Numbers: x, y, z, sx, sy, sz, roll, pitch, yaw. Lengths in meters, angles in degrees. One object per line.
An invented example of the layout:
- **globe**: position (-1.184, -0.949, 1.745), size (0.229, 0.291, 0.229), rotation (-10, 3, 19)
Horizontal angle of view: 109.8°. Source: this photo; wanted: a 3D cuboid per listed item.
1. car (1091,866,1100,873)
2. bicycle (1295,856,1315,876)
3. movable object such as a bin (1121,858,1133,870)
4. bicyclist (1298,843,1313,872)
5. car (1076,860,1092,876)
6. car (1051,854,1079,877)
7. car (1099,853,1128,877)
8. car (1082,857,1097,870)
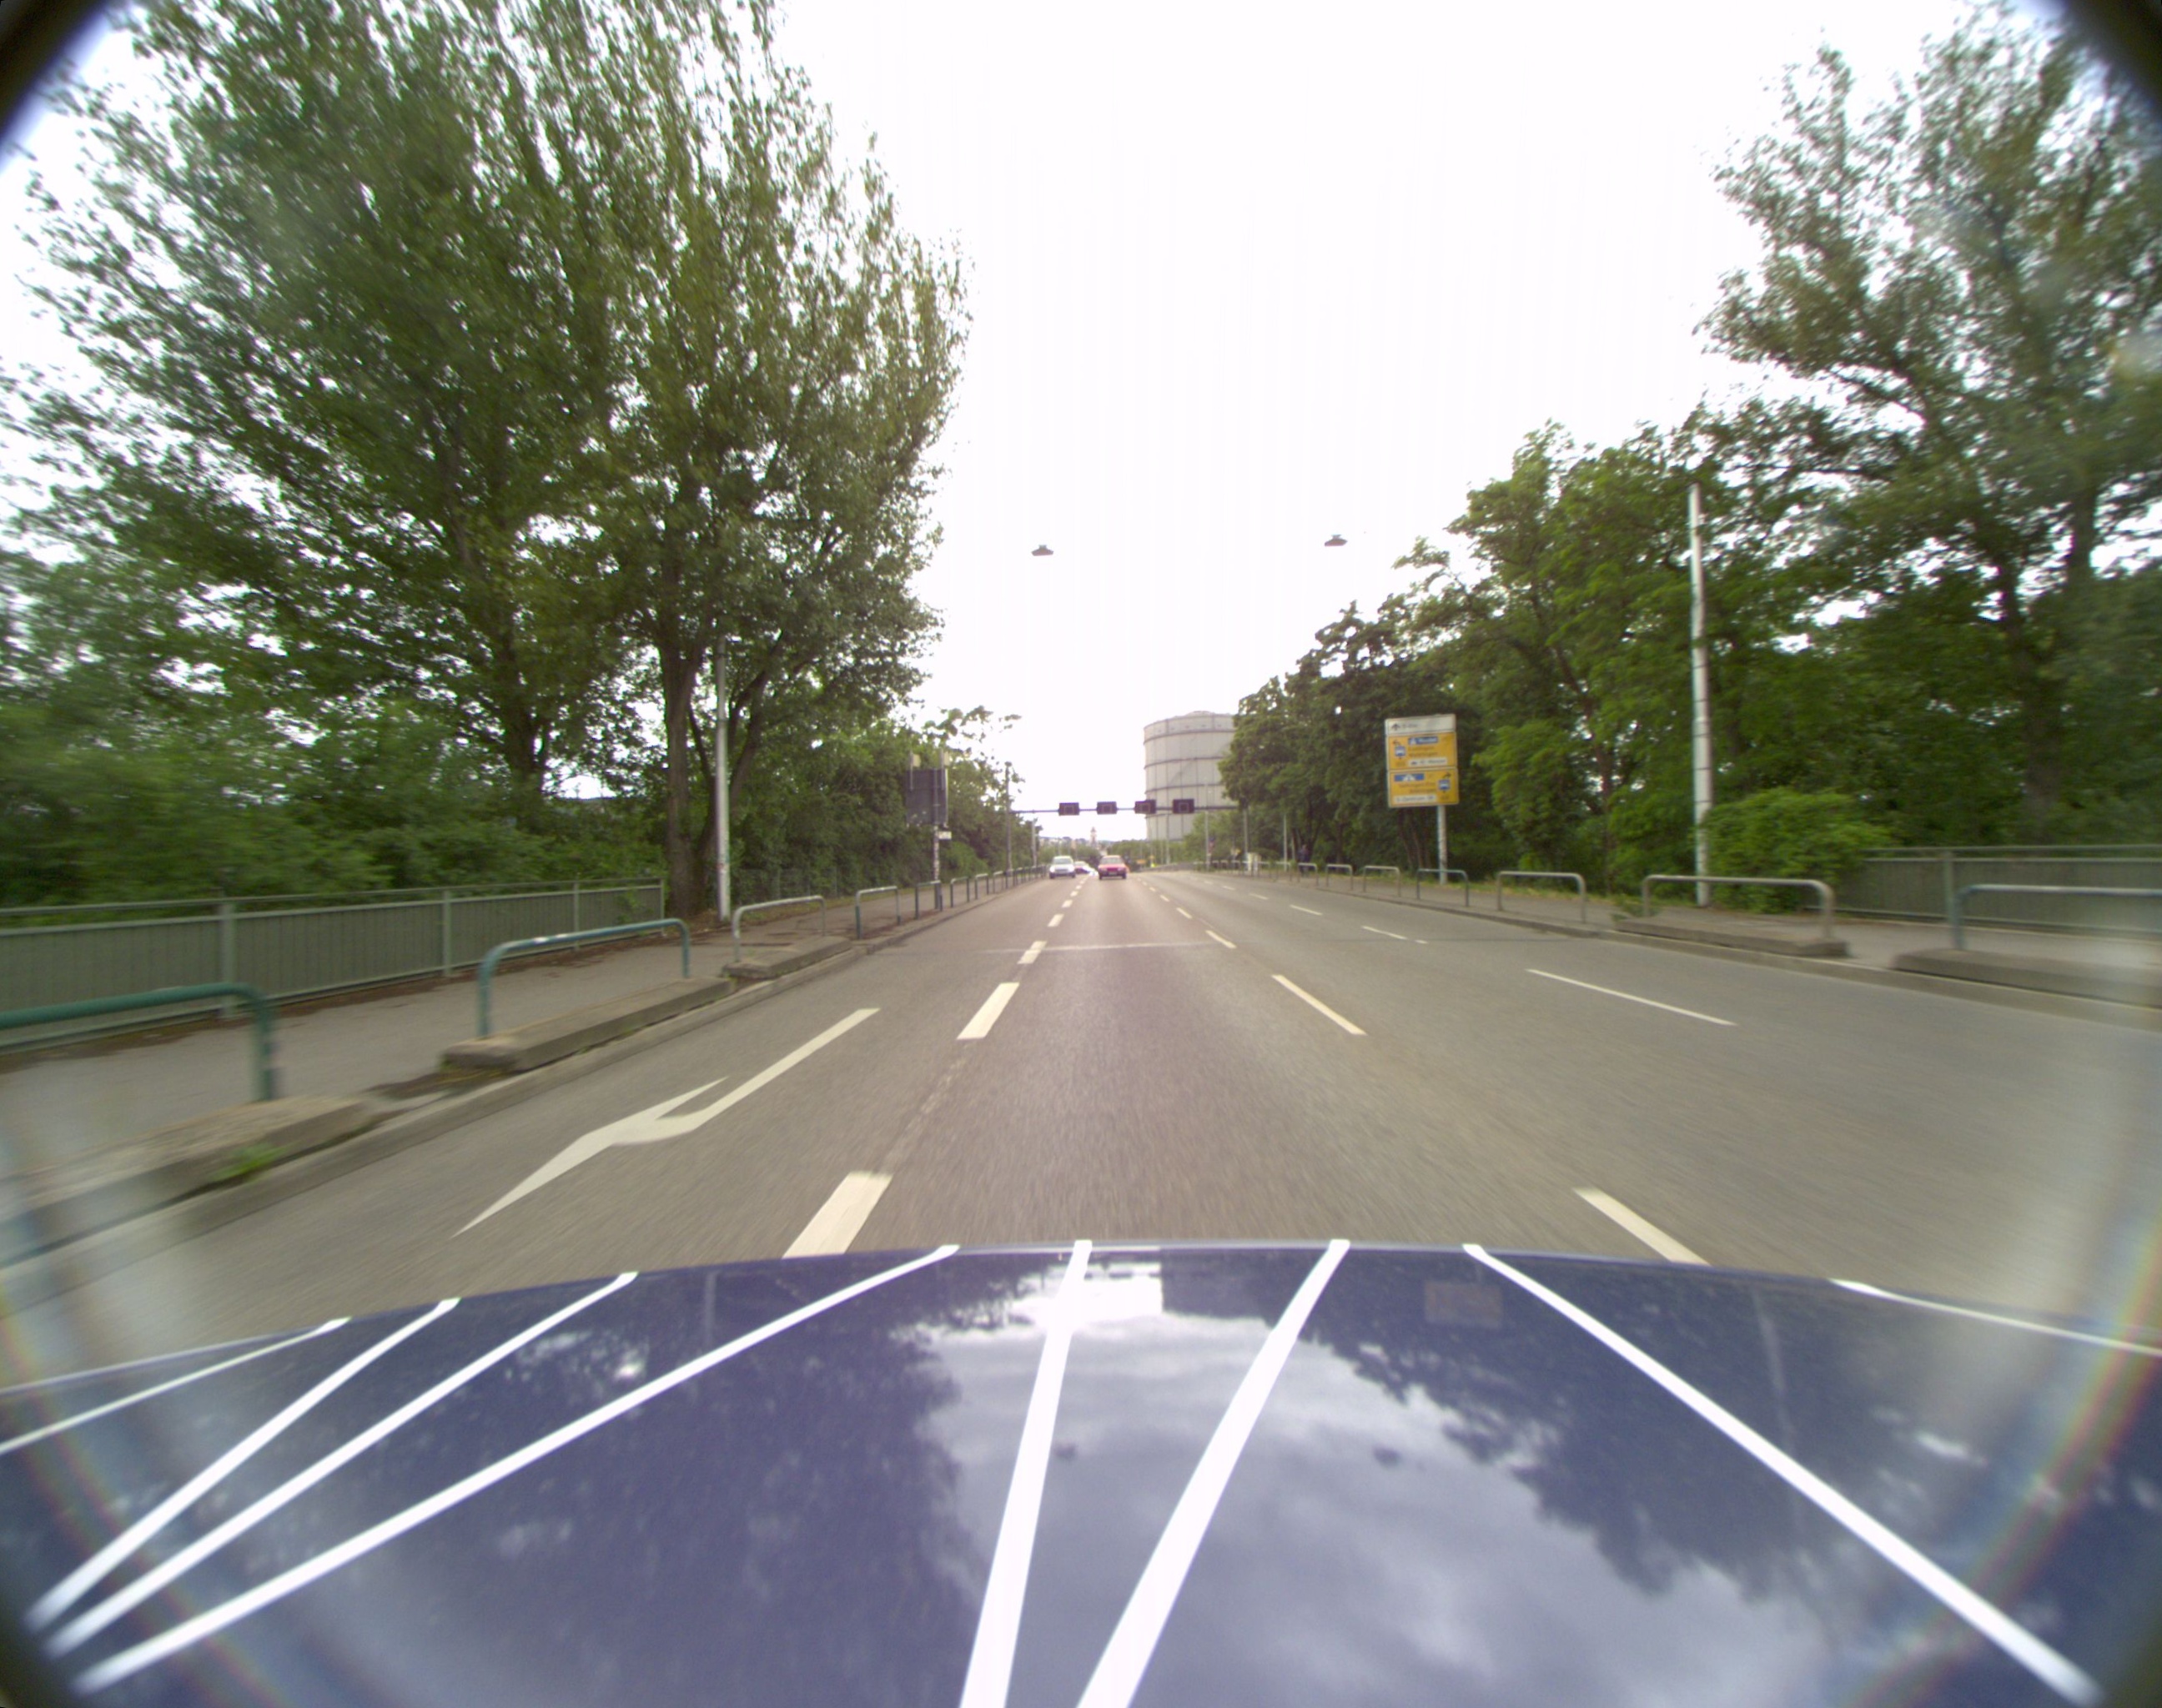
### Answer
- **car**: position (3.928, 4.099, 203.551), size (1.998, 1.792, 4.001), rotation (-3, 0, 5)
- **bicycle**: position (11.791, 0.626, 39.999), size (0.486, 0.996, 2.002), rotation (-1, 0, 1)
- **movable object such as a bin**: position (13.380, 2.898, 222.287), size (3.463, 3.303, 9.361), rotation (0, -1, 2)
- **bicyclist**: position (11.802, 0.178, 39.911), size (0.516, 1.507, 0.984), rotation (-1, 0, 1)
- **car**: position (0.338, 1.652, 90.809), size (1.776, 1.696, 4.000), rotation (-3, 0, 1)
- **car**: position (-1.107, 0.800, 54.942), size (1.771, 1.565, 4.001), rotation (-1, 0, 2)
- **car**: position (1.998, 0.686, 46.845), size (1.696, 1.434, 4.001), rotation (0, -1, 2)
- **car**: position (1.244, 1.357, 108.251), size (1.998, 1.775, 4.001), rotation (-2, -1, 3)
